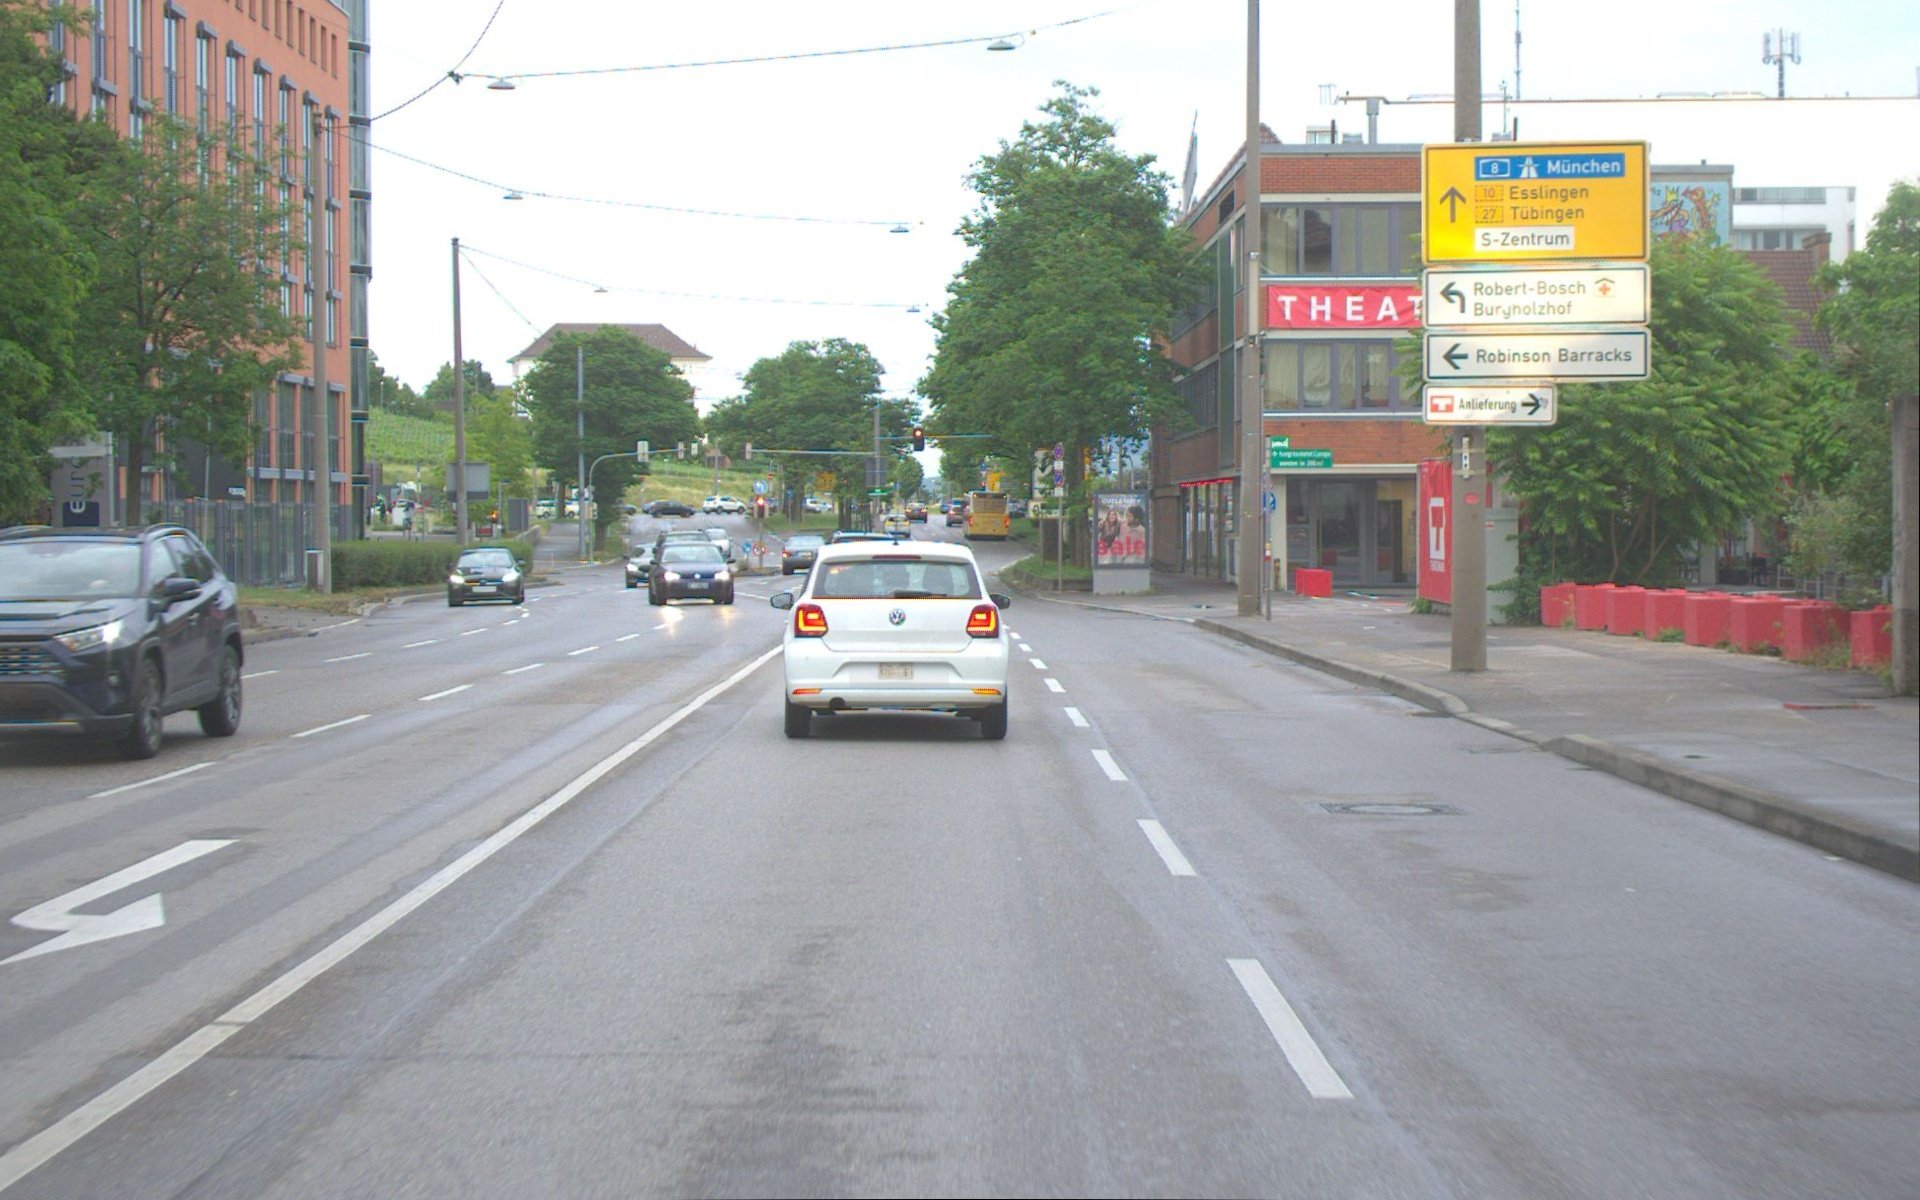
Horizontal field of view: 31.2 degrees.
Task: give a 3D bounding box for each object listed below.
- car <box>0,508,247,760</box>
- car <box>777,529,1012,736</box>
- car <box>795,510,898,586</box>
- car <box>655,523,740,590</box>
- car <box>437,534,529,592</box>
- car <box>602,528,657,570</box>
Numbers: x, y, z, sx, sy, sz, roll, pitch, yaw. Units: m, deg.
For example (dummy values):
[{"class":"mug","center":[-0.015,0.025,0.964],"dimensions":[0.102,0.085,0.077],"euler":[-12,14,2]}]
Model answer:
[{"class":"car","center":[-6.545,0.186,25.075],"dimensions":[1.756,1.550,4.451],"euler":[-2,3,-1]},{"class":"car","center":[-0.530,0.196,26.416],"dimensions":[1.671,1.469,3.780],"euler":[0,1,-2]},{"class":"car","center":[-2.400,-1.138,73.606],"dimensions":[1.993,1.568,4.000],"euler":[0,1,1]},{"class":"car","center":[-5.958,-1.019,78.243],"dimensions":[1.659,1.481,3.820],"euler":[0,1,0]},{"class":"car","center":[-12.140,-0.955,87.757],"dimensions":[1.621,1.319,4.446],"euler":[-2,2,1]},{"class":"car","center":[-11.035,-1.697,115.024],"dimensions":[1.712,1.360,4.001],"euler":[-1,1,-4]}]
